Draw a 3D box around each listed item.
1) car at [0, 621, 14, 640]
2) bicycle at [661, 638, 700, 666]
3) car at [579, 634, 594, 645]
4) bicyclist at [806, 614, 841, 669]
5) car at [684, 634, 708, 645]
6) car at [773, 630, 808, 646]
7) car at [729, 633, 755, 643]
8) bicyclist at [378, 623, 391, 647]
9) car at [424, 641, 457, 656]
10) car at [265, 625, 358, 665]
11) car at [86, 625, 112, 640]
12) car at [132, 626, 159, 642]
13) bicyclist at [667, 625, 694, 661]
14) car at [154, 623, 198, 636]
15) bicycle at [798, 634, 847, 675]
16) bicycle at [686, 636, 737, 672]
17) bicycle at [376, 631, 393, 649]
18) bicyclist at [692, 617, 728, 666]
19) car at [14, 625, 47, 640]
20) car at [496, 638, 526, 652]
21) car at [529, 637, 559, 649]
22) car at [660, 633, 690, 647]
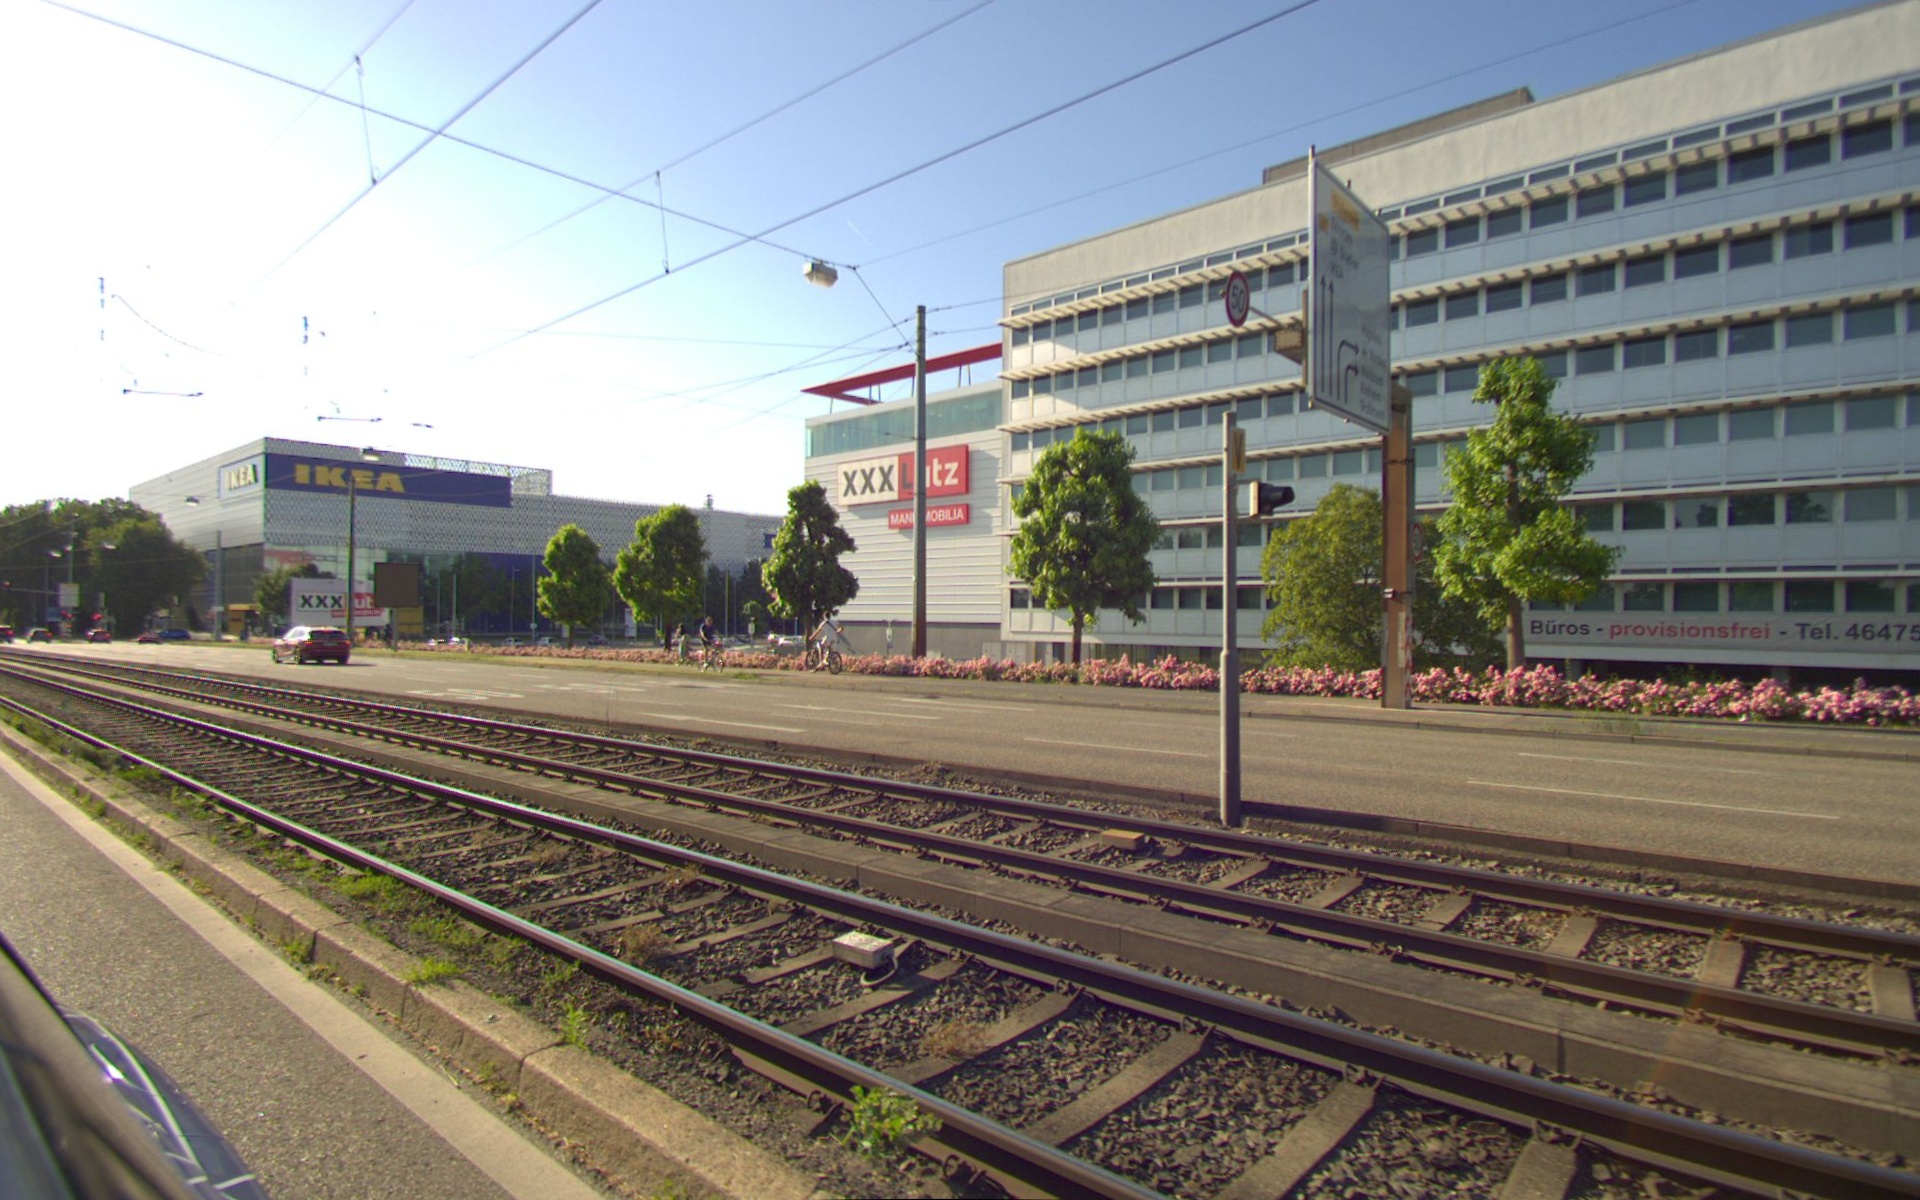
[{"bbox_3d":[-89.422,2.830,93.832,4.657,1.668,1.972,-1,-3,42],"label":"car"},{"bbox_3d":[-10.742,1.986,38.832,1.702,1.067,0.618,-2,-2,41],"label":"bicycle"},{"bbox_3d":[-59.780,6.264,161.783,1.876,1.580,4.262,-2,1,-25],"label":"car"},{"bbox_3d":[-4.298,1.290,31.762,0.595,1.671,0.964,-2,1,-43],"label":"bicyclist"},{"bbox_3d":[-40.669,6.048,155.790,3.998,1.668,1.705,-2,-2,42],"label":"car"},{"bbox_3d":[-19.563,4.345,116.681,3.997,1.715,1.902,-2,1,40],"label":"car"},{"bbox_3d":[-34.696,6.029,161.125,3.998,1.668,1.972,-2,-2,42],"label":"car"},{"bbox_3d":[-40.525,2.475,71.265,0.653,1.635,0.802,-2,0,-40],"label":"bicyclist"},{"bbox_3d":[-65.673,6.150,127.874,4.408,1.723,1.976,-2,1,36],"label":"car"},{"bbox_3d":[-27.358,1.836,42.607,4.885,1.514,2.018,0,-1,41],"label":"car"},{"bbox_3d":[-87.765,3.281,103.096,1.911,1.488,4.138,4,-3,-41],"label":"car"},{"bbox_3d":[-84.749,3.520,105.360,1.796,1.655,4.010,2,-3,-35],"label":"car"},{"bbox_3d":[-10.745,1.642,38.848,0.879,1.384,0.618,-2,-2,41],"label":"bicyclist"},{"bbox_3d":[-102.220,3.870,131.969,4.194,1.509,2.017,4,-4,-44],"label":"car"},{"bbox_3d":[-4.338,1.702,31.823,0.595,1.228,1.750,-2,1,-43],"label":"bicycle"},{"bbox_3d":[-8.085,1.731,32.909,0.696,1.081,2.029,-2,1,-42],"label":"bicycle"},{"bbox_3d":[-40.501,2.817,71.253,0.653,1.159,2.025,-2,1,-40],"label":"bicycle"},{"bbox_3d":[-8.132,1.341,32.941,0.696,1.523,0.971,-2,1,-43],"label":"bicyclist"},{"bbox_3d":[-92.405,3.204,100.578,4.133,1.472,1.838,-2,-2,39],"label":"car"},{"bbox_3d":[-59.610,5.927,134.246,3.993,1.758,1.912,-2,1,37],"label":"car"},{"bbox_3d":[-56.842,5.853,138.282,3.993,1.605,1.912,-2,1,37],"label":"car"},{"bbox_3d":[-40.883,5.715,145.243,4.158,1.813,1.832,-2,0,-16],"label":"car"}]
